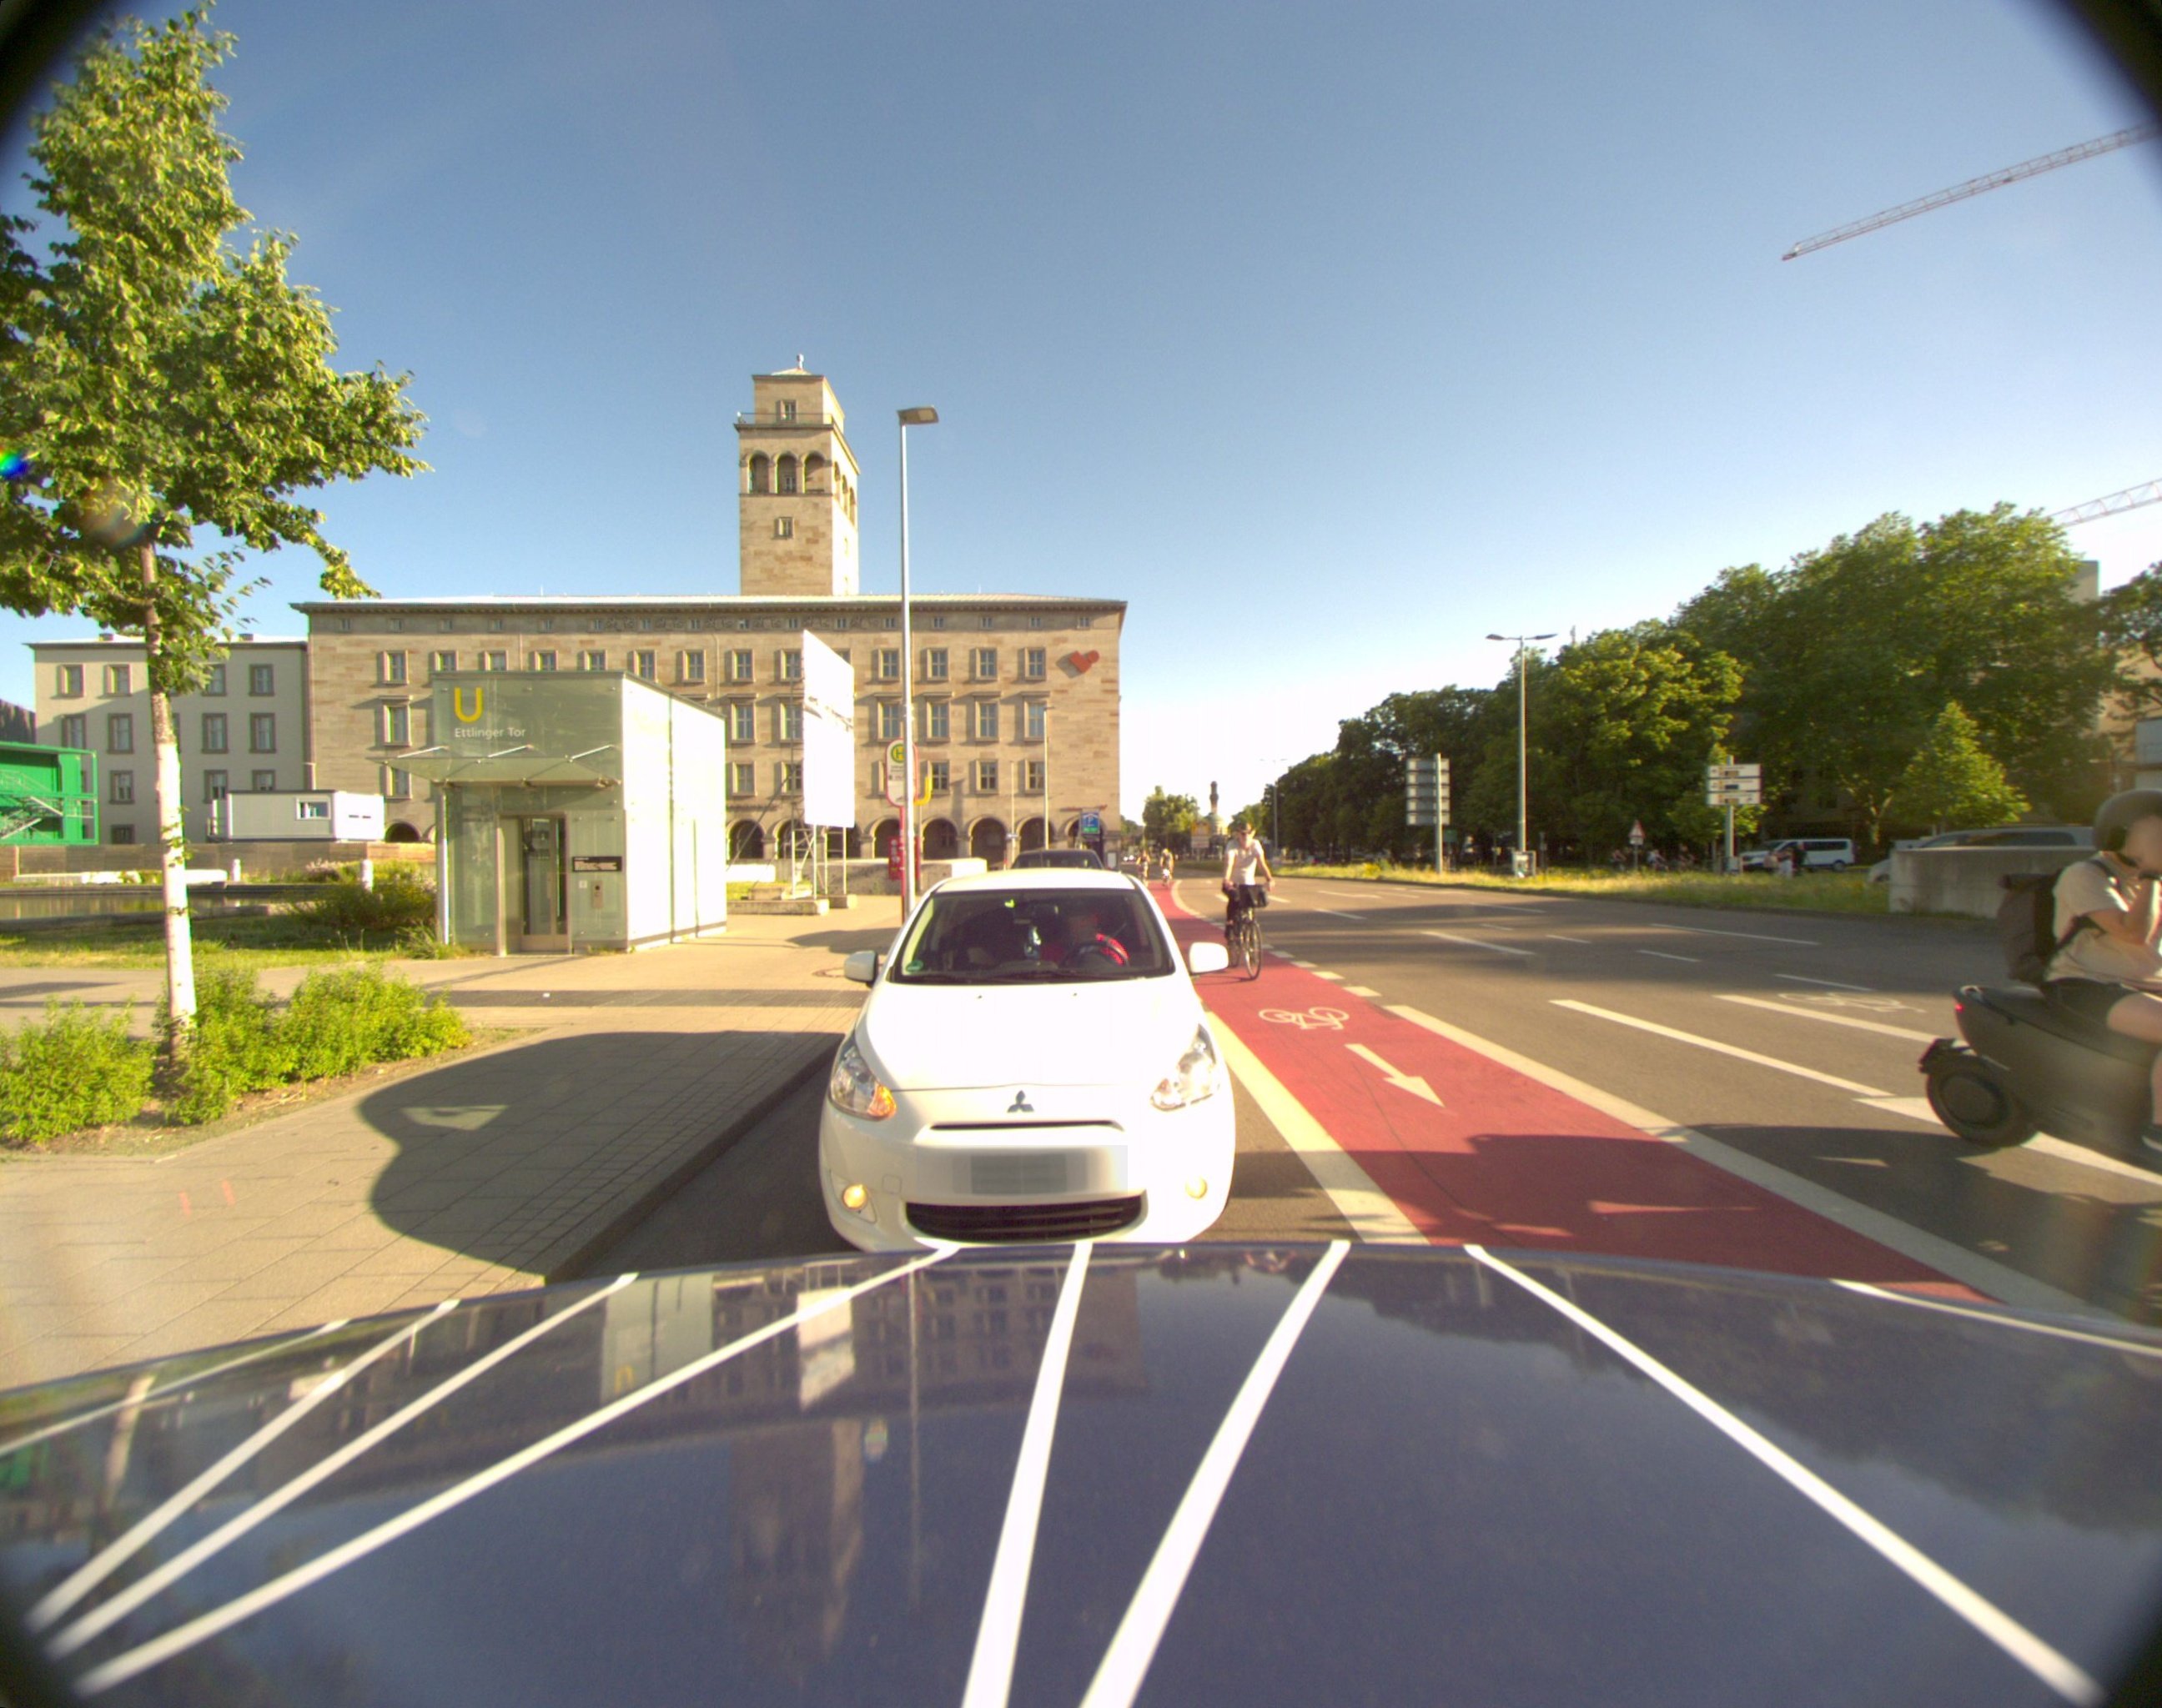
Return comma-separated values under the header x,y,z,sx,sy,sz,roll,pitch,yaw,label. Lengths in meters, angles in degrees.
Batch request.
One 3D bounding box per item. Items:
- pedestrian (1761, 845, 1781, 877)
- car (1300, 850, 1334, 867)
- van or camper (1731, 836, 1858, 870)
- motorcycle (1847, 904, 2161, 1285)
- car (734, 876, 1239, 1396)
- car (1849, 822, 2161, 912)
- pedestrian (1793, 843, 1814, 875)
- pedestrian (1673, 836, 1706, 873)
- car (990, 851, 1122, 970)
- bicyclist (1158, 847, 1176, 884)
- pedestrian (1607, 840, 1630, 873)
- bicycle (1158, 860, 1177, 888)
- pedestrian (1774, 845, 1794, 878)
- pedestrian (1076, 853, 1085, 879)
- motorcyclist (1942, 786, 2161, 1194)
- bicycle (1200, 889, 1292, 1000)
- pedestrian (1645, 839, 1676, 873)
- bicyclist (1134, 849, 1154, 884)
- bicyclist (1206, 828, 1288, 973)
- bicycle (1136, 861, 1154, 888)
x,y,z,sx,sy,sz,roll,pitch,yaw,label
32.327,0.313,35.594,0.499,1.502,0.494,-1,1,1,pedestrian
21.401,0.355,69.051,1.881,1.472,3.980,-1,0,1,car
42.232,-0.056,45.071,5.499,1.934,1.951,-1,1,4,van or camper
4.268,0.896,2.860,0.828,1.273,1.944,-1,0,1,motorcycle
-0.260,0.924,4.315,1.519,1.447,4.000,-1,0,1,car
22.361,0.270,18.678,1.887,1.911,4.930,-1,0,-2,car
34.157,0.240,35.932,0.499,1.502,0.494,-1,1,1,pedestrian
33.164,0.042,41.423,1.126,1.952,0.815,-2,1,1,pedestrian
-0.323,0.792,12.714,1.833,1.660,4.000,-1,0,1,car
3.871,0.525,34.210,0.674,1.649,0.877,-1,1,1,bicyclist
33.255,0.144,47.008,0.958,2.002,0.838,-3,1,-31,pedestrian
3.879,0.899,34.254,0.689,1.185,1.506,-1,1,1,bicycle
33.274,0.351,35.969,0.499,1.502,0.494,-1,1,1,pedestrian
-0.014,0.778,50.611,0.552,1.692,0.553,-1,1,-1,pedestrian
4.263,0.480,2.959,0.824,1.455,0.877,-1,1,1,motorcyclist
1.990,1.054,9.415,0.741,1.140,1.890,-1,0,1,bicycle
33.403,0.109,43.809,0.951,1.952,1.058,-2,1,-14,pedestrian
2.878,0.574,34.622,0.824,1.568,0.877,-1,1,1,bicyclist
2.017,0.545,9.322,0.807,1.690,0.852,-1,1,1,bicyclist
2.896,0.929,34.570,0.689,1.185,1.506,-1,1,1,bicycle
